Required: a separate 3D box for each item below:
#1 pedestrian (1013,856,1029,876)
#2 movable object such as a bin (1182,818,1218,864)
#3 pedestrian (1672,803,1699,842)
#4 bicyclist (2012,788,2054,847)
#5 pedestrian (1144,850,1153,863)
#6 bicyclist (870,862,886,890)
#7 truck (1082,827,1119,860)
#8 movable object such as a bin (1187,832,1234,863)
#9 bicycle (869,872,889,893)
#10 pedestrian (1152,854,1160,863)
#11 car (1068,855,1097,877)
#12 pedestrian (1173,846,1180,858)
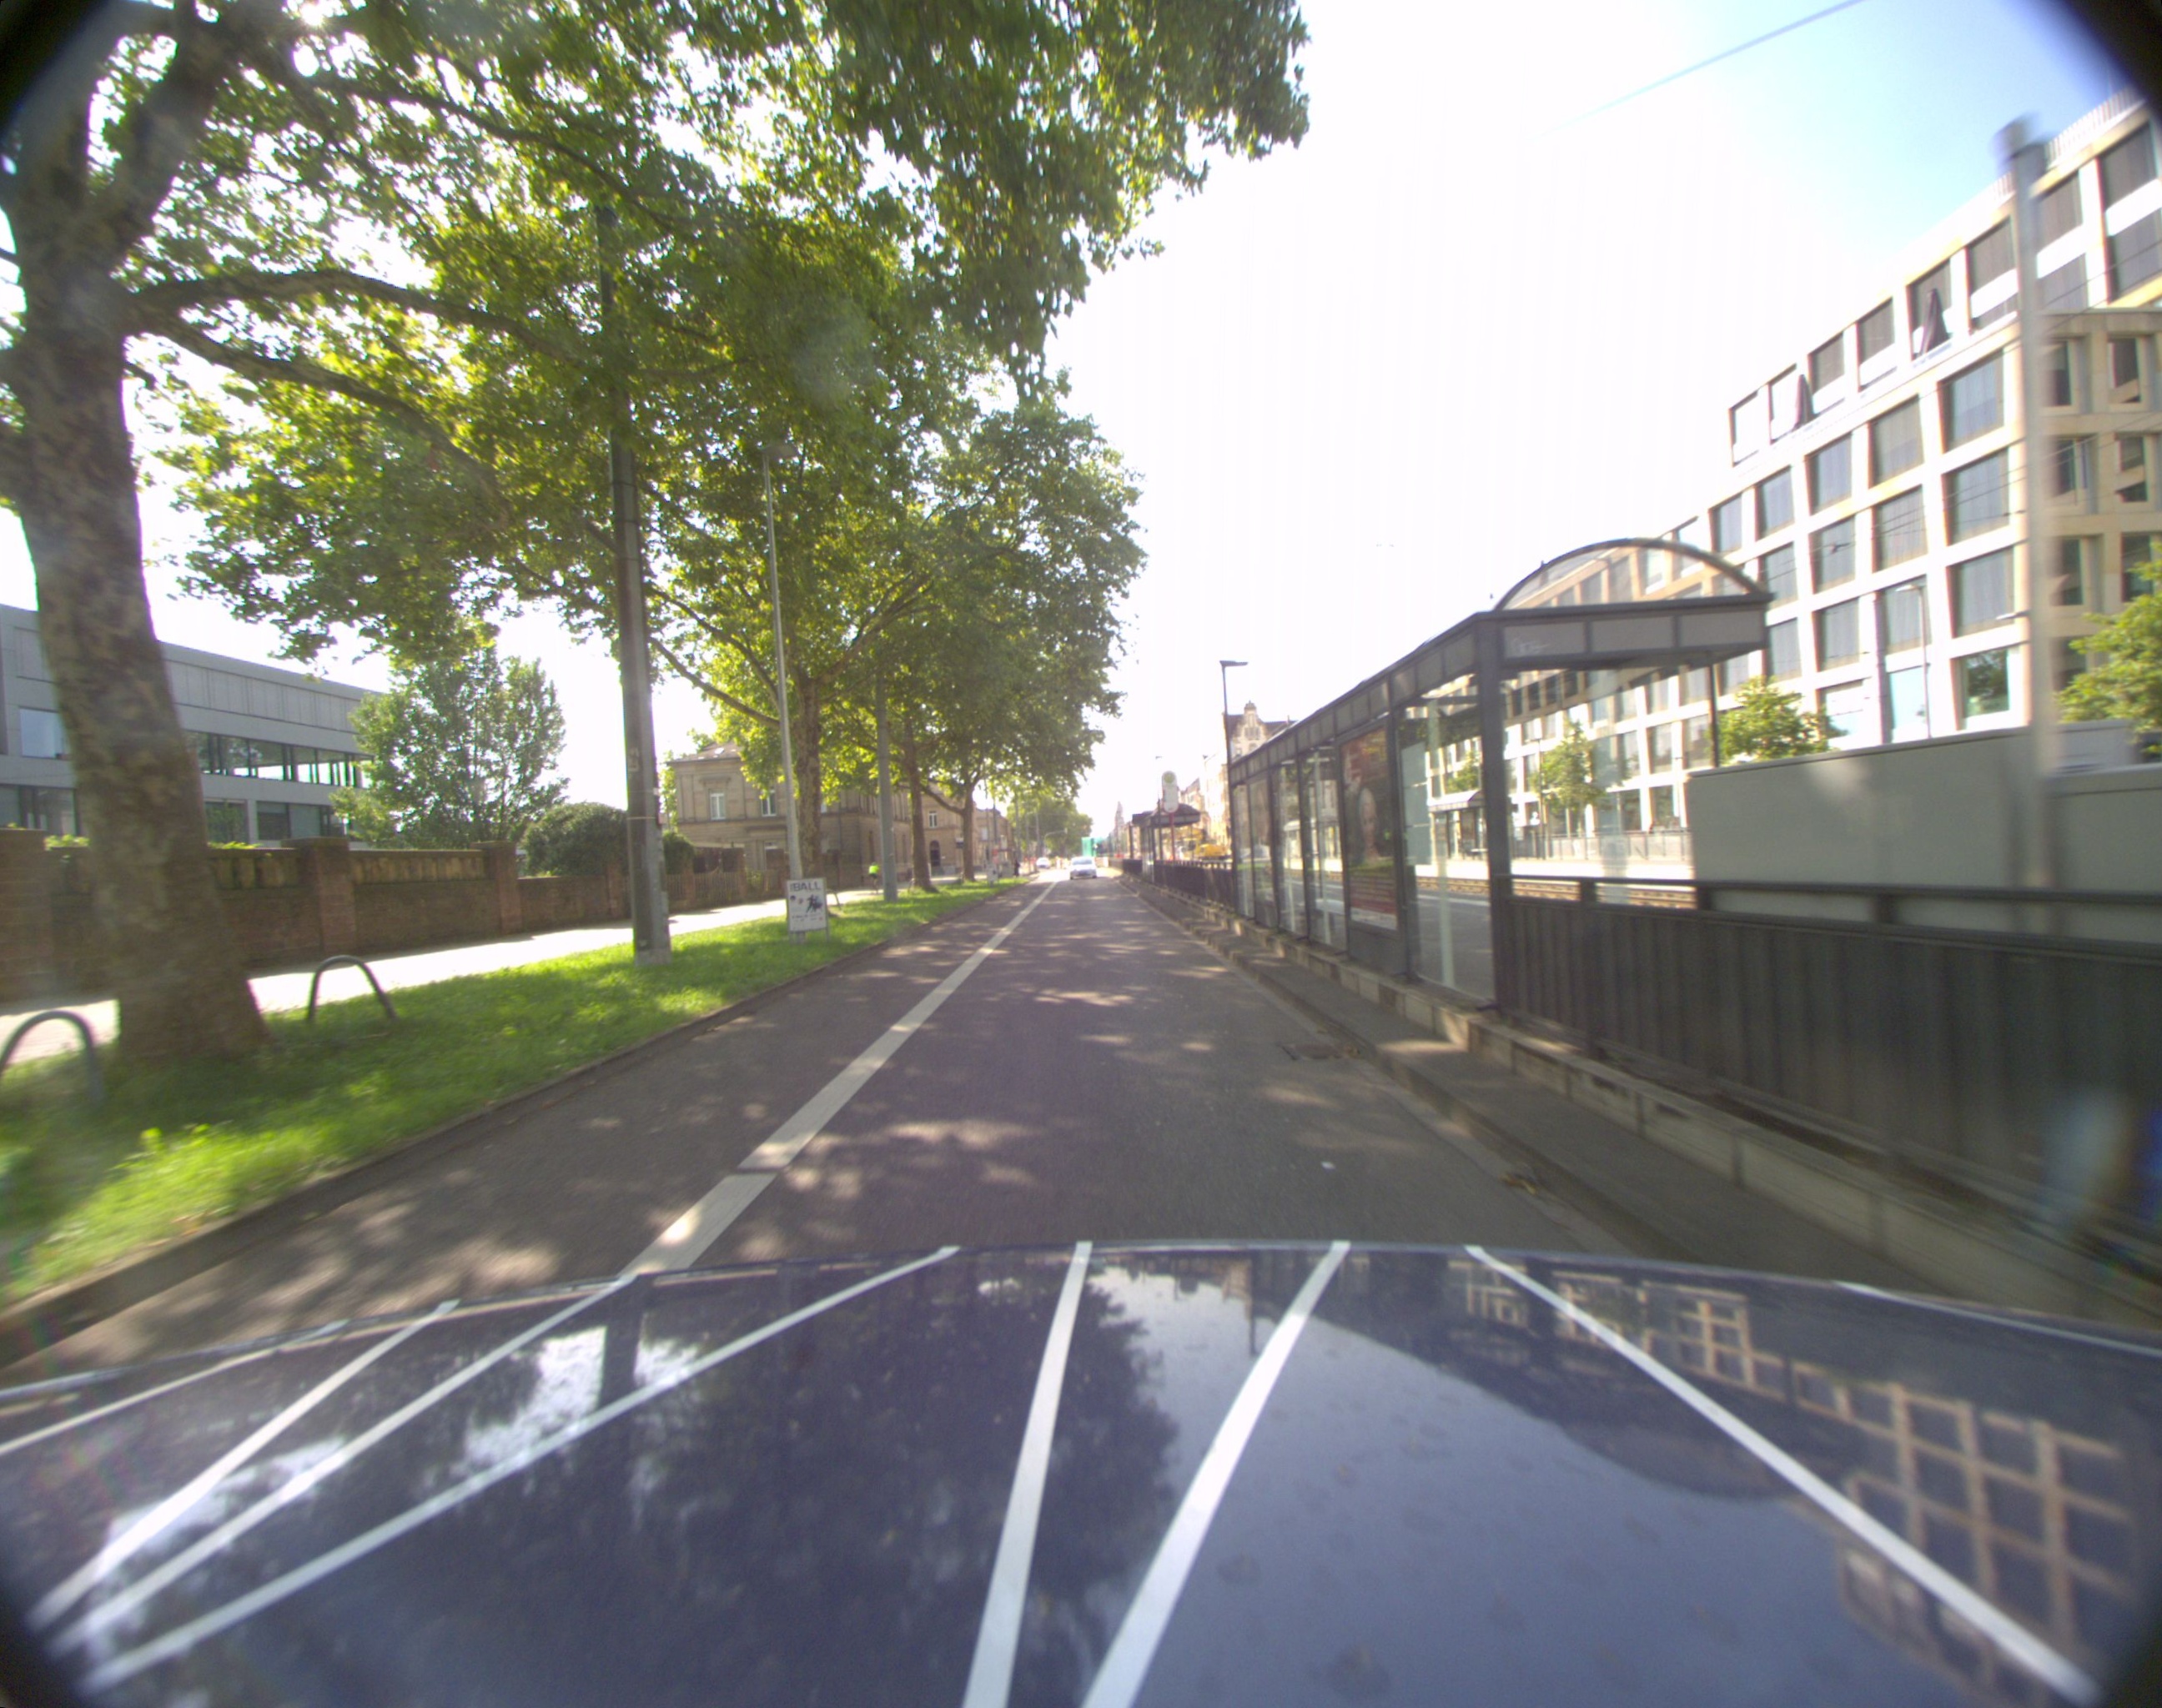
[{"bbox_3d":[-4.958,0.987,62.587,0.885,1.616,0.821,-4,0,-35],"label":"pedestrian"},{"bbox_3d":[12.377,-1.301,79.087,2.994,4.527,4.212,-3,0,2],"label":"movable object such as a bin"},{"bbox_3d":[32.323,-1.675,40.632,0.768,2.002,0.822,-1,2,4],"label":"pedestrian"},{"bbox_3d":[22.426,-0.846,17.902,0.387,1.353,0.447,-3,1,0],"label":"bicyclist"},{"bbox_3d":[7.726,0.312,86.536,0.741,1.470,0.704,-3,0,22],"label":"pedestrian"},{"bbox_3d":[-10.716,1.142,40.166,0.549,1.445,0.842,-3,1,1],"label":"bicyclist"},{"bbox_3d":[2.319,-1.202,94.515,2.817,3.766,9.008,-3,0,-9],"label":"truck"},{"bbox_3d":[14.861,-0.700,87.454,4.127,3.204,3.564,-3,0,-15],"label":"movable object such as a bin"},{"bbox_3d":[-10.695,1.487,40.199,0.549,1.001,1.713,-2,0,1],"label":"bicycle"},{"bbox_3d":[7.836,0.474,78.904,0.702,0.949,0.882,-3,0,1],"label":"pedestrian"},{"bbox_3d":[0.134,0.802,52.465,1.844,1.451,4.000,-1,0,1],"label":"car"},{"bbox_3d":[13.841,-0.339,110.370,0.752,1.692,0.678,-3,1,0],"label":"pedestrian"}]
